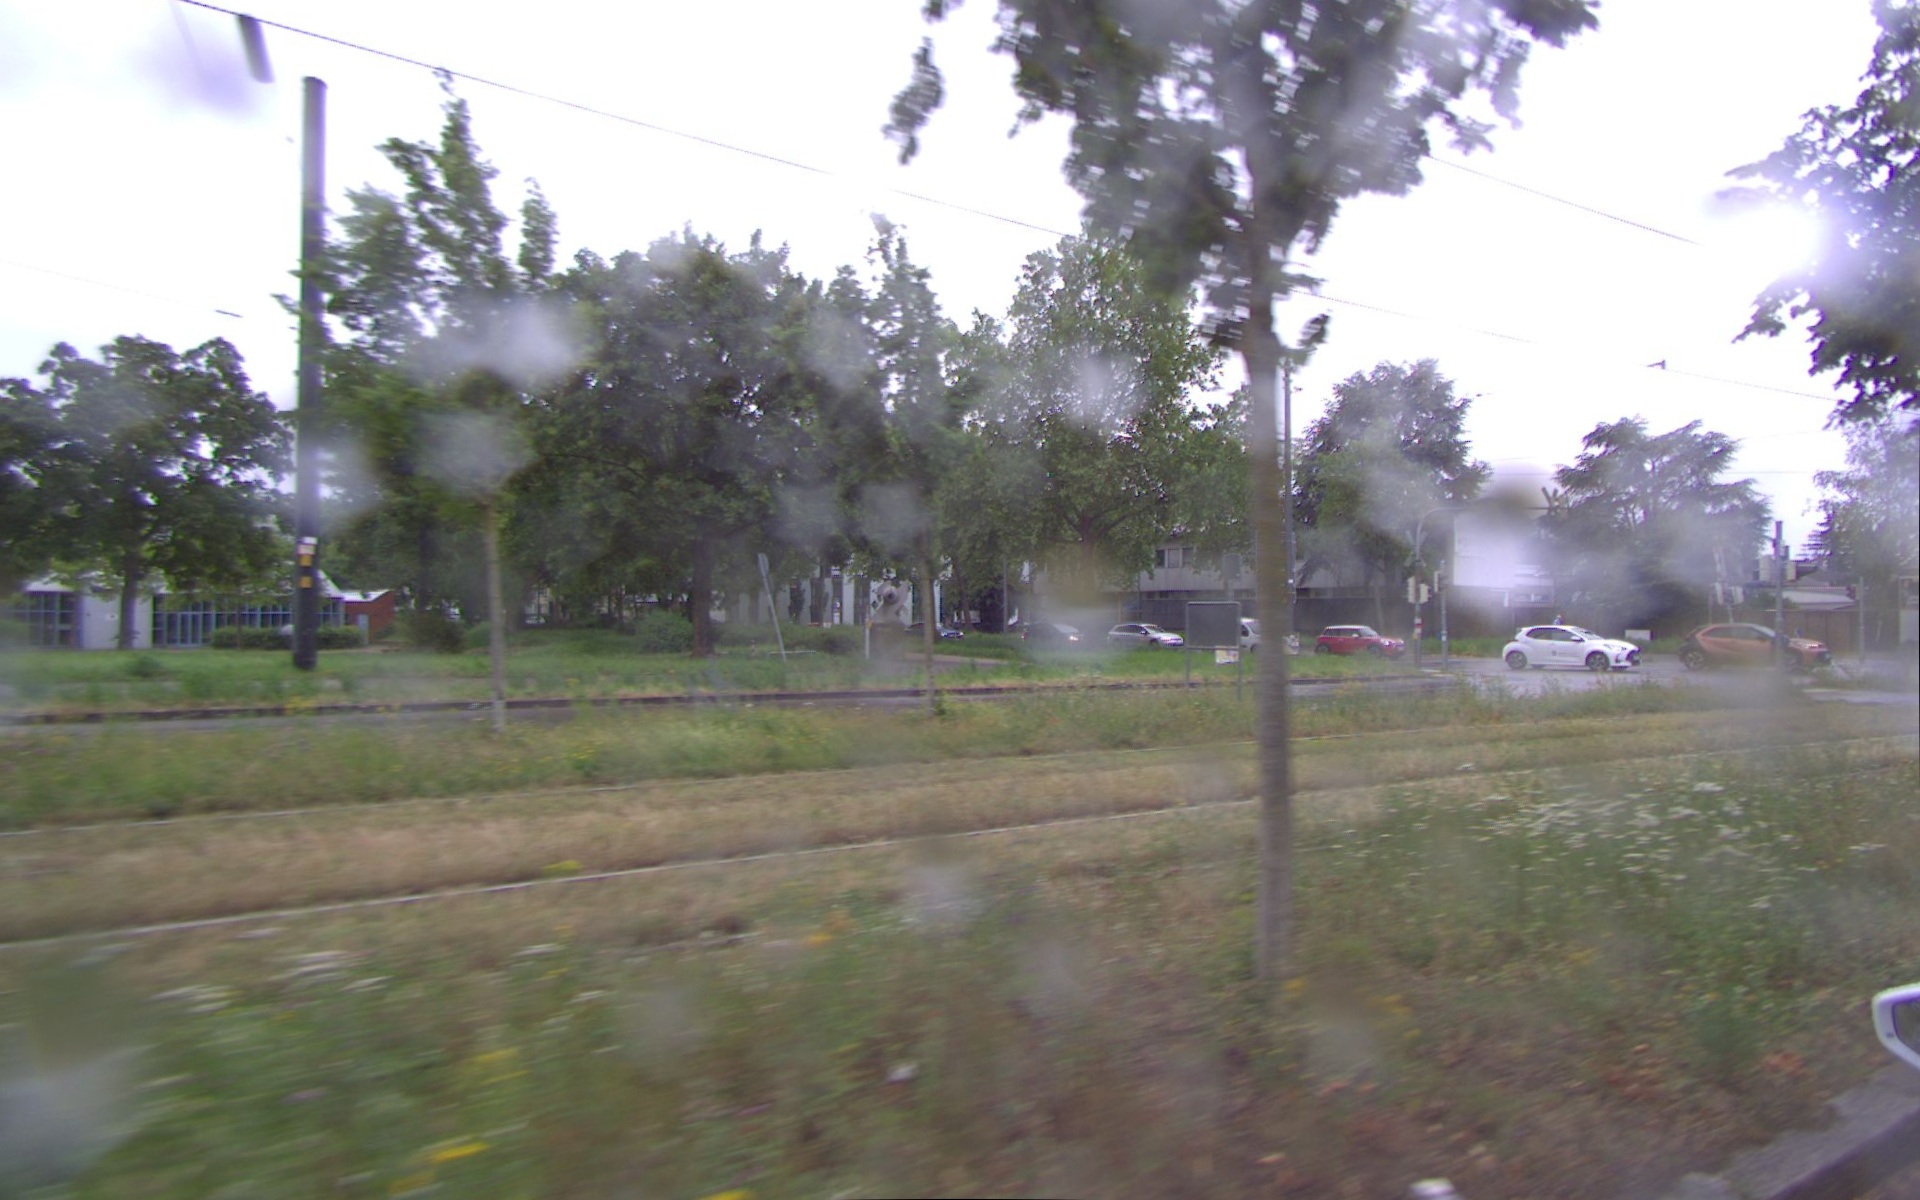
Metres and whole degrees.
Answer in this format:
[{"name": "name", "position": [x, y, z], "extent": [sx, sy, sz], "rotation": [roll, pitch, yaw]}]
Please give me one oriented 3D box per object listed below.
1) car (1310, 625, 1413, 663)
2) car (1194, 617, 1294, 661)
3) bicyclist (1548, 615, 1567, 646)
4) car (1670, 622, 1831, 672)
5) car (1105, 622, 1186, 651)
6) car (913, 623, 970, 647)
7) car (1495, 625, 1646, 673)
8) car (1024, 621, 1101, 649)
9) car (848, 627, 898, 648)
[{"name": "car", "position": [17.422, 1.883, 43.721], "extent": [1.639, 1.519, 3.874], "rotation": [0, -1, -40]}, {"name": "car", "position": [12.515, 1.695, 44.534], "extent": [1.636, 1.820, 4.180], "rotation": [0, -1, -36]}, {"name": "bicyclist", "position": [33.022, 1.689, 55.557], "extent": [0.634, 1.705, 0.681], "rotation": [2, -2, -30]}, {"name": "car", "position": [25.428, 1.475, 32.421], "extent": [1.636, 1.518, 3.791], "rotation": [2, -2, -36]}, {"name": "car", "position": [9.851, 1.950, 53.729], "extent": [1.637, 1.475, 4.324], "rotation": [2, -2, -37]}, {"name": "car", "position": [-1.202, 2.156, 62.291], "extent": [1.637, 1.413, 3.789], "rotation": [2, -2, -37]}, {"name": "car", "position": [20.309, 1.591, 33.580], "extent": [1.635, 1.518, 4.040], "rotation": [2, -2, -34]}, {"name": "car", "position": [5.430, 1.856, 53.811], "extent": [1.637, 1.475, 4.324], "rotation": [2, -2, -37]}, {"name": "car", "position": [-5.925, 2.524, 67.882], "extent": [1.637, 1.413, 3.789], "rotation": [2, -2, -37]}]
